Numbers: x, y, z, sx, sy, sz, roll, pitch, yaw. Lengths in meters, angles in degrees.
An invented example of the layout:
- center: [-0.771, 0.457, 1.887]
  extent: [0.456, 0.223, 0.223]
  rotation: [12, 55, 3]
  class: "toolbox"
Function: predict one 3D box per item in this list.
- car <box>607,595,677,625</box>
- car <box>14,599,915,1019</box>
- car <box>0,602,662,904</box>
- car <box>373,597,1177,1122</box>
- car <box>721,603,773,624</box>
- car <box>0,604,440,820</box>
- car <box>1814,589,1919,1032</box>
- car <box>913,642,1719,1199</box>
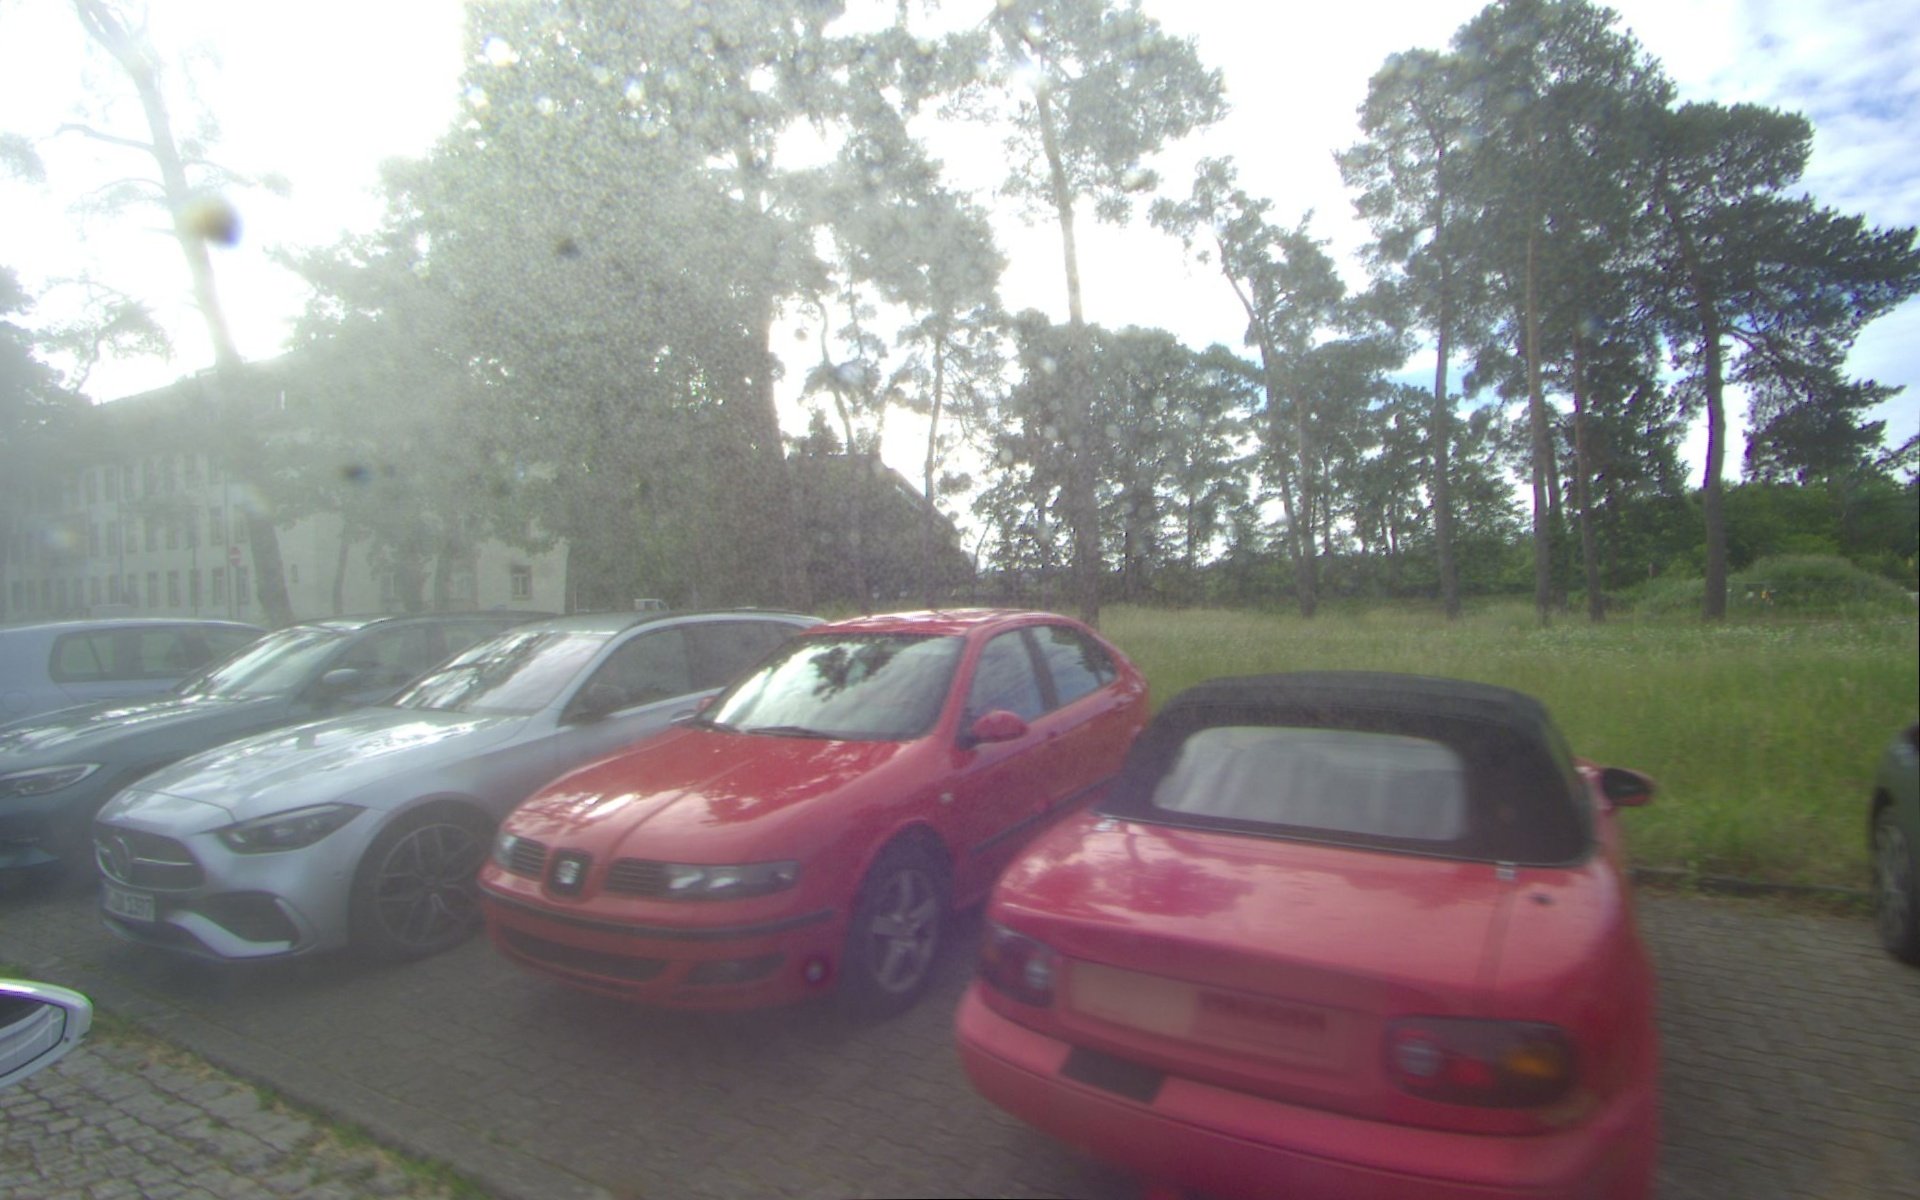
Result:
- center: [-25.505, 0.758, 80.443]
  extent: [2.182, 2.319, 5.169]
  rotation: [-1, 0, 32]
  class: "car"
- center: [-2.331, 0.771, 6.148]
  extent: [1.786, 1.502, 4.748]
  rotation: [0, 0, 31]
  class: "car"
- center: [-4.620, 0.793, 7.522]
  extent: [1.734, 1.502, 4.753]
  rotation: [-1, 0, 28]
  class: "car"
- center: [-0.424, 0.742, 4.995]
  extent: [1.773, 1.471, 3.955]
  rotation: [0, 0, 31]
  class: "car"
- center: [-16.035, 0.981, 75.565]
  extent: [1.971, 1.528, 3.475]
  rotation: [-1, 0, 32]
  class: "car"
- center: [-6.825, 0.811, 8.754]
  extent: [1.582, 1.446, 3.756]
  rotation: [0, 2, 30]
  class: "car"
- center: [3.824, 0.719, 2.550]
  extent: [1.772, 1.525, 3.772]
  rotation: [-1, 0, 29]
  class: "car"
- center: [1.454, 0.846, 3.434]
  extent: [1.473, 1.223, 3.584]
  rotation: [0, 1, 32]
  class: "car"
